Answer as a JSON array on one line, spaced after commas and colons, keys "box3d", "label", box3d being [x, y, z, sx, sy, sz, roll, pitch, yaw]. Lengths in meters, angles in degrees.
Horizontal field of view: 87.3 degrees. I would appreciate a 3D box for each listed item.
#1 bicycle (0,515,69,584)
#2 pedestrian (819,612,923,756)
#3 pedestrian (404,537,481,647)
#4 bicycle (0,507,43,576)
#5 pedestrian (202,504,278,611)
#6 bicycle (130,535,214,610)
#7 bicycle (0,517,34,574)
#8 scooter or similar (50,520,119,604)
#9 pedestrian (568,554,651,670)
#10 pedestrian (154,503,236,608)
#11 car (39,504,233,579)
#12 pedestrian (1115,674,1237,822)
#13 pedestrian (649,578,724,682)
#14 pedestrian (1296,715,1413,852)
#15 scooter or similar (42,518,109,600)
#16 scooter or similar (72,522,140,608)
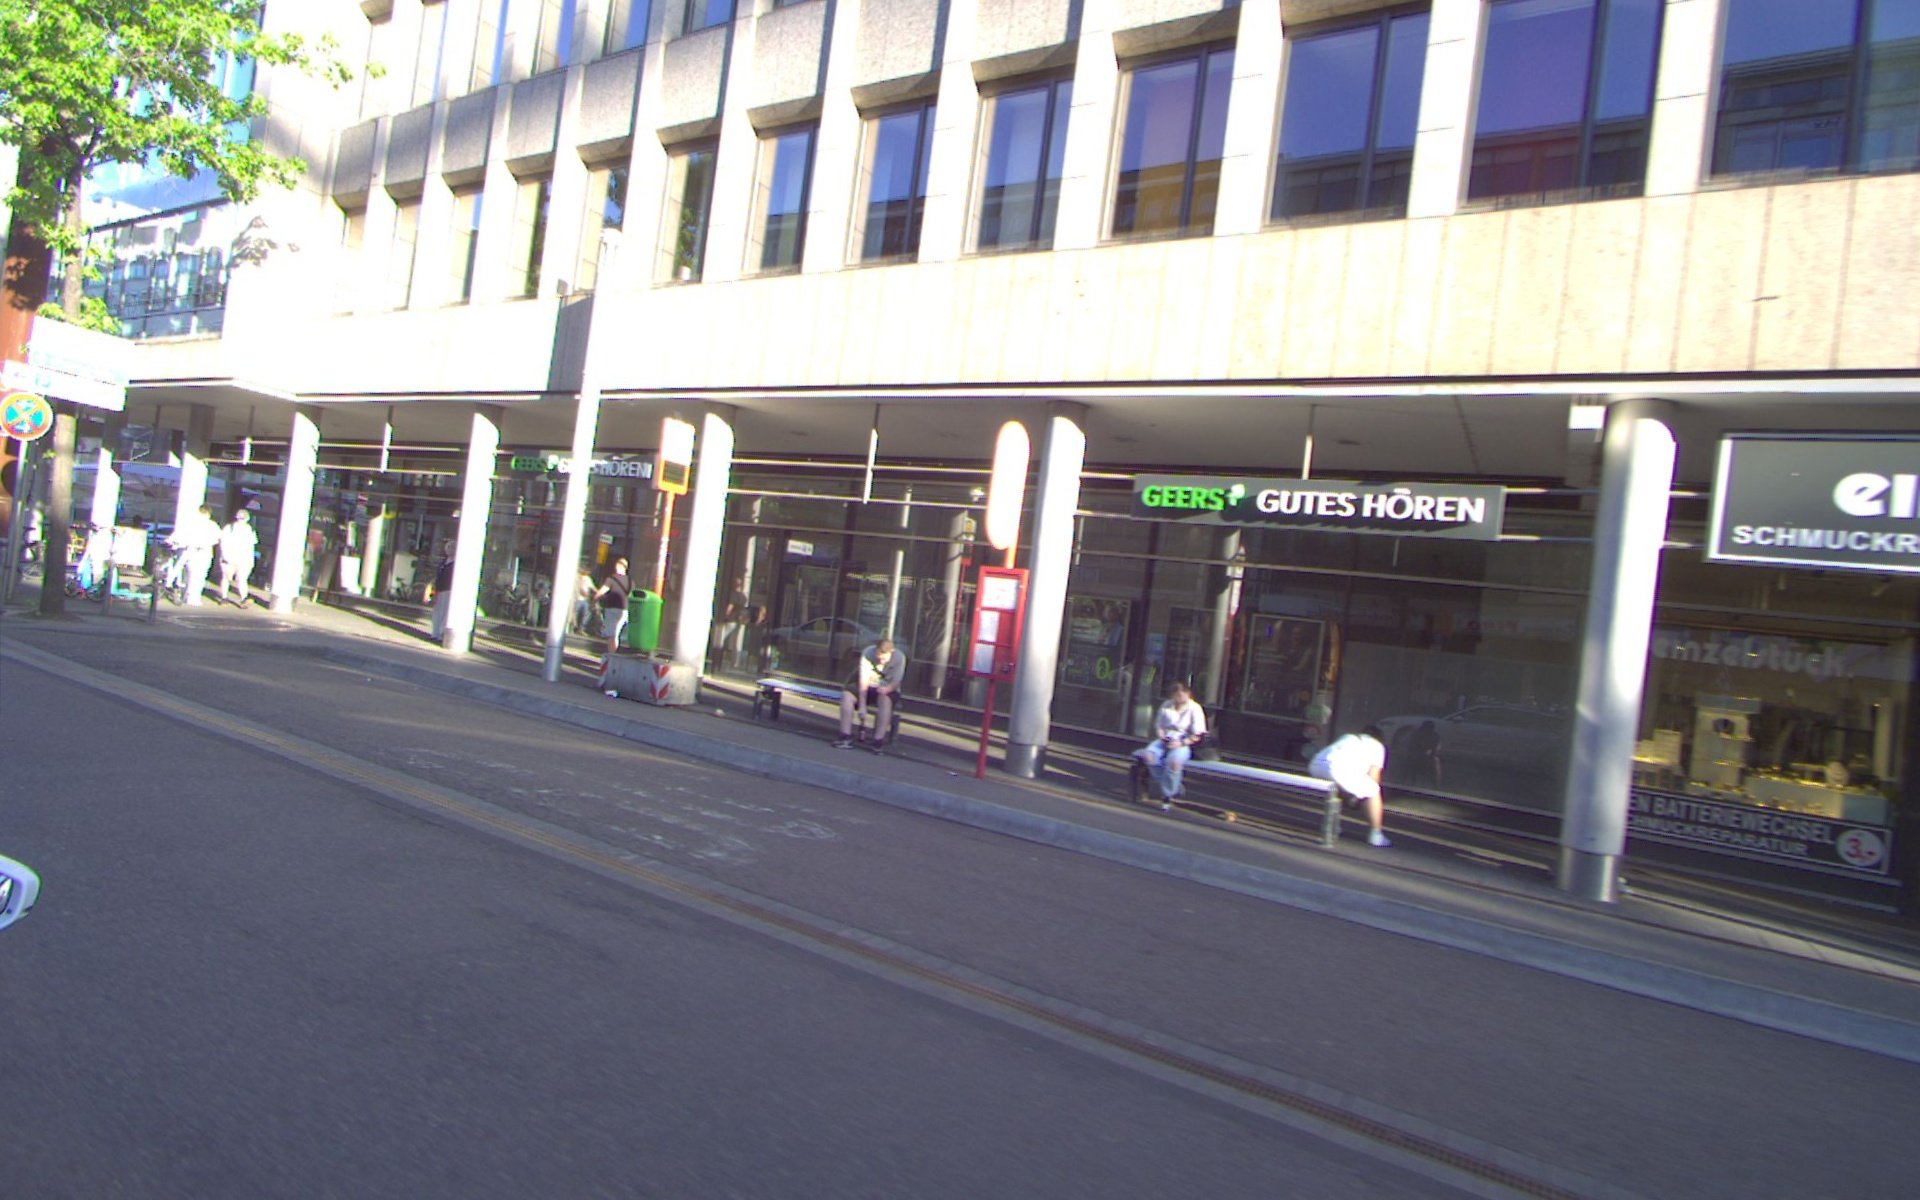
[{"box3d": [-17.765, -0.975, 18.524, 0.598, 1.171, 1.914, 7, 0, 20], "label": "bicycle"}, {"box3d": [-0.940, 0.890, 10.829, 0.763, 1.393, 0.837, 8, -1, 9], "label": "pedestrian"}, {"box3d": [-8.493, -0.127, 16.523, 0.768, 1.672, 0.638, 7, -1, 32], "label": "pedestrian"}, {"box3d": [-19.157, -1.206, 19.496, 0.598, 1.297, 1.914, 7, 0, 20], "label": "bicycle"}, {"box3d": [-13.170, -0.779, 18.404, 1.016, 1.836, 0.701, 7, 3, 31], "label": "pedestrian"}, {"box3d": [-14.009, -0.503, 17.867, 1.899, 1.142, 0.564, 7, 1, 35], "label": "bicycle"}, {"box3d": [-20.258, -1.208, 20.371, 0.598, 1.109, 2.122, 7, -1, 18], "label": "bicycle"}, {"box3d": [-14.469, -0.625, 16.628, 0.648, 1.293, 0.529, 7, 1, 20], "label": "scooter or similar"}, {"box3d": [-5.719, 0.207, 16.429, 0.821, 1.761, 0.717, 7, -1, 32], "label": "pedestrian"}, {"box3d": [-13.656, -0.782, 17.975, 0.678, 1.768, 0.900, 7, 3, 31], "label": "pedestrian"}, {"box3d": [-23.209, -1.610, 28.496, 1.620, 1.490, 3.813, 7, -2, 26], "label": "car"}, {"box3d": [2.019, 1.360, 9.391, 0.772, 1.212, 0.667, 7, -1, 36], "label": "pedestrian"}, {"box3d": [-4.425, 0.494, 16.285, 0.783, 1.560, 0.643, 7, -1, 32], "label": "pedestrian"}, {"box3d": [3.532, 1.611, 8.984, 0.685, 1.043, 0.837, 7, -1, 36], "label": "pedestrian"}, {"box3d": [-15.001, -0.696, 17.071, 0.648, 1.293, 0.529, 7, 1, 20], "label": "scooter or similar"}, {"box3d": [-13.848, -0.559, 16.313, 0.648, 1.293, 0.492, 7, 1, 20], "label": "scooter or similar"}]
